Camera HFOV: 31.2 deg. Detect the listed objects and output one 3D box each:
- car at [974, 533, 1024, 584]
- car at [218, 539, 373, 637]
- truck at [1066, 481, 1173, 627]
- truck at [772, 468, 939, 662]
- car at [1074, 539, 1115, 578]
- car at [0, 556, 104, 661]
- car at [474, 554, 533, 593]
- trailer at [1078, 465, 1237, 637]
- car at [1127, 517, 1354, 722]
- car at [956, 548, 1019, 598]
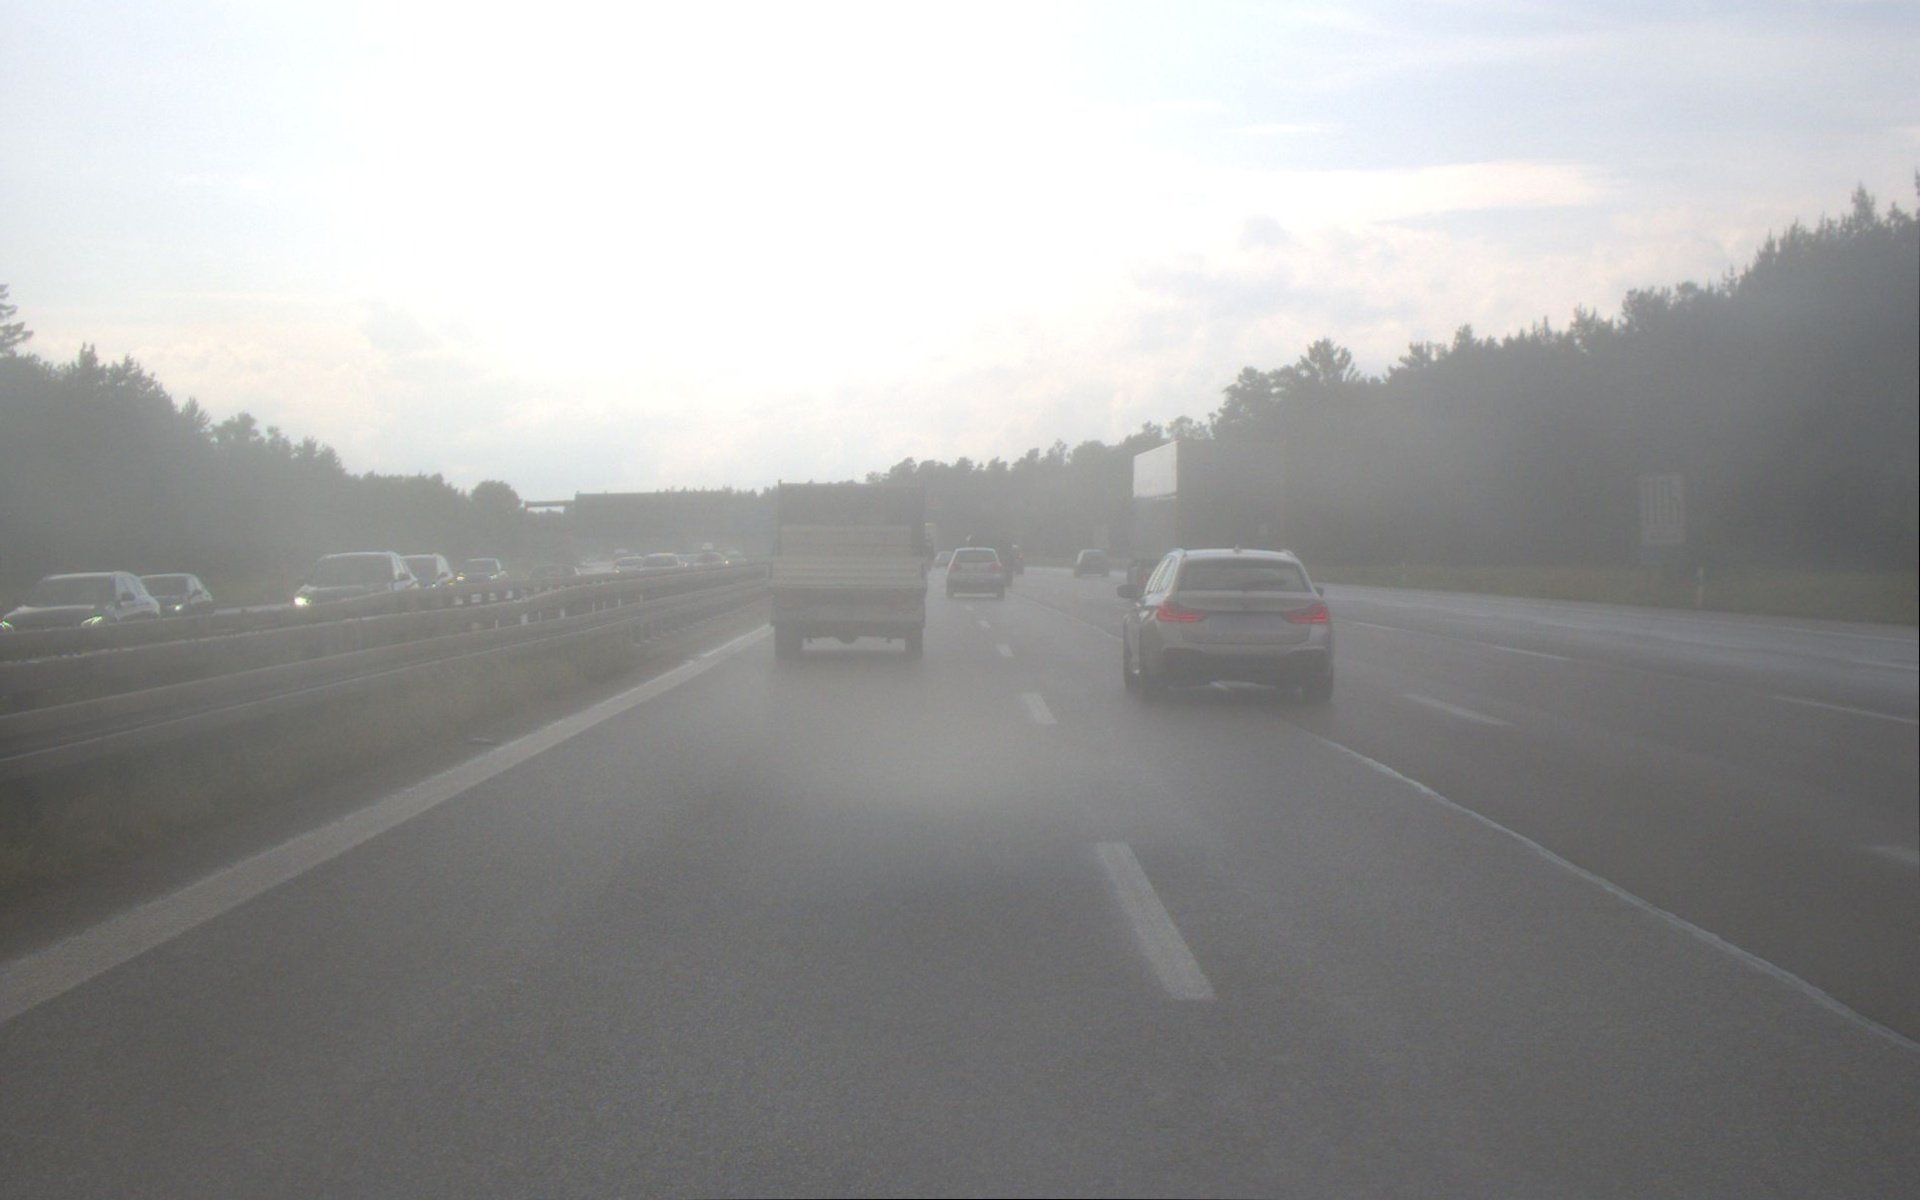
[{"bbox_3d":[1.551,-1.683,137.666,1.908,2.007,4.000,0,1,-1],"label":"car"},{"bbox_3d":[-11.040,-0.224,57.328,1.790,1.537,3.722,-2,1,1],"label":"car"},{"bbox_3d":[4.301,-1.257,93.554,2.293,3.855,5.393,0,1,-4],"label":"truck"},{"bbox_3d":[-1.422,-0.490,46.918,2.137,2.480,5.313,0,1,-2],"label":"truck"},{"bbox_3d":[7.282,-2.248,186.510,1.993,2.007,4.000,1,1,-1],"label":"car"},{"bbox_3d":[-14.749,0.109,53.843,1.752,1.574,3.848,-1,1,-1],"label":"car"},{"bbox_3d":[-19.381,-1.145,146.032,1.900,1.542,4.513,-3,1,-1],"label":"car"},{"bbox_3d":[4.830,-1.223,86.730,2.323,3.988,13.414,0,1,-4],"label":"trailer"},{"bbox_3d":[2.750,0.136,34.566,2.078,1.878,5.011,1,1,3],"label":"car"},{"bbox_3d":[0.819,-0.820,102.603,1.831,1.461,4.000,1,1,0],"label":"car"}]
